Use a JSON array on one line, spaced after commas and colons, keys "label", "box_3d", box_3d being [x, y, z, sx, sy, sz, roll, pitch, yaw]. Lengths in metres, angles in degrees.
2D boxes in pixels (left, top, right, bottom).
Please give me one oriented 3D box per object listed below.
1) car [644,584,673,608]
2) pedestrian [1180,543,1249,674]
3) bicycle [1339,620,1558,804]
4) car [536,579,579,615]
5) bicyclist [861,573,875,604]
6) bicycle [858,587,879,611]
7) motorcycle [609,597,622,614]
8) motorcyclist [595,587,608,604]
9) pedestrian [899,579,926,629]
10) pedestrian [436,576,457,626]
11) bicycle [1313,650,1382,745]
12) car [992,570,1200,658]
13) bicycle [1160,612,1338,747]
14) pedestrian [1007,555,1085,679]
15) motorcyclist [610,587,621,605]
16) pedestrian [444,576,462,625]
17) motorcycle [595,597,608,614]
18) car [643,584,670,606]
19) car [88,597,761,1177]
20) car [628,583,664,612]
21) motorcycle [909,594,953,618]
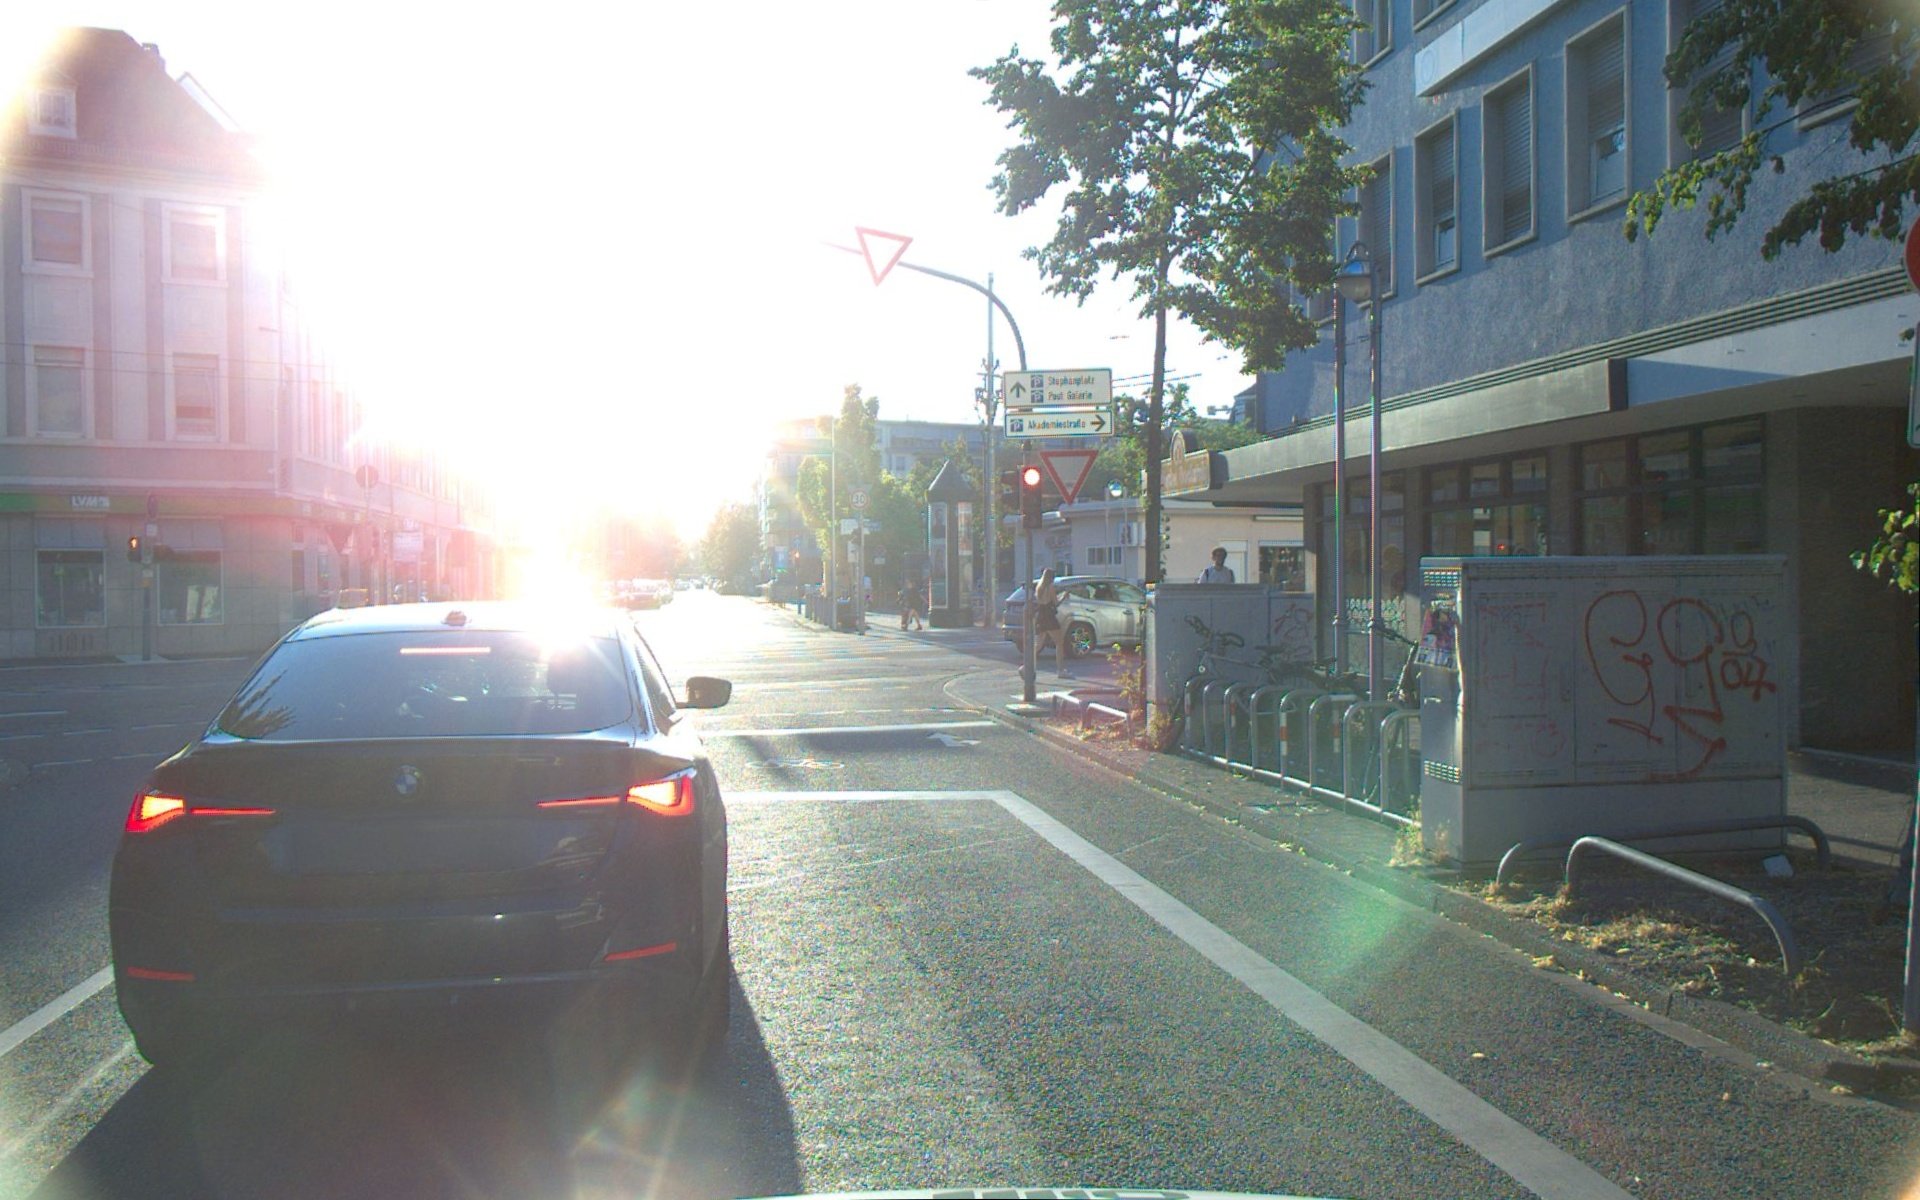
[{"label": "car", "box_3d": [-20.500, -0.297, 112.696, 1.784, 1.545, 3.992, -1, 1, -9]}, {"label": "pedestrian", "box_3d": [3.726, 0.118, 24.253, 0.820, 1.874, 0.677, -1, 0, -9]}, {"label": "bicycle", "box_3d": [3.383, 0.771, 11.486, 1.413, 1.241, 0.383, 1, 0, -8]}, {"label": "car", "box_3d": [-21.094, -0.191, 86.791, 1.784, 1.819, 3.992, -1, 1, -9]}, {"label": "bicyclist", "box_3d": [-4.437, -0.553, 79.841, 0.541, 1.507, 0.719, 1, 0, -17]}, {"label": "bicycle", "box_3d": [-4.432, -0.043, 79.796, 0.541, 1.179, 2.134, 1, 0, -17]}, {"label": "motorcycle", "box_3d": [-19.462, 0.302, 93.476, 0.564, 0.931, 2.196, 1, 0, -8]}, {"label": "motorcyclist", "box_3d": [-20.355, -0.256, 93.863, 0.564, 0.931, 2.196, 1, 0, -8]}, {"label": "pedestrian", "box_3d": [-1.497, 0.117, 52.043, 0.725, 1.555, 0.468, 1, 0, -30]}, {"label": "pedestrian", "box_3d": [-19.780, 0.027, 63.721, 0.631, 1.909, 0.630, 1, 0, -9]}, {"label": "bicycle", "box_3d": [3.589, 0.894, 15.368, 0.244, 0.810, 1.114, 1, 0, -7]}, {"label": "car", "box_3d": [2.889, 0.242, 34.818, 4.242, 1.737, 1.784, -1, 1, -35]}, {"label": "bicycle", "box_3d": [2.651, 0.719, 15.185, 1.582, 1.191, 0.318, -1, 0, -7]}, {"label": "pedestrian", "box_3d": [1.376, 0.259, 26.429, 0.990, 1.892, 0.634, -4, 2, -29]}, {"label": "motorcyclist", "box_3d": [-19.433, -0.238, 93.378, 0.564, 1.013, 0.701, 1, 0, -9]}, {"label": "pedestrian", "box_3d": [-19.781, 0.023, 64.569, 0.605, 1.909, 0.676, 1, 0, -13]}, {"label": "motorcycle", "box_3d": [-20.352, 0.285, 93.842, 0.564, 0.931, 2.196, 1, 0, -8]}, {"label": "car", "box_3d": [-22.541, -0.387, 122.892, 1.784, 1.545, 3.992, -1, 1, -9]}, {"label": "car", "box_3d": [-1.739, 0.733, 6.461, 1.705, 1.453, 4.214, 0, 0, -10]}, {"label": "car", "box_3d": [-17.896, -0.157, 94.378, 1.784, 1.545, 3.992, -1, 1, -9]}, {"label": "motorcycle", "box_3d": [-1.184, 0.246, 67.967, 1.644, 0.955, 0.851, -1, 1, -20]}]
